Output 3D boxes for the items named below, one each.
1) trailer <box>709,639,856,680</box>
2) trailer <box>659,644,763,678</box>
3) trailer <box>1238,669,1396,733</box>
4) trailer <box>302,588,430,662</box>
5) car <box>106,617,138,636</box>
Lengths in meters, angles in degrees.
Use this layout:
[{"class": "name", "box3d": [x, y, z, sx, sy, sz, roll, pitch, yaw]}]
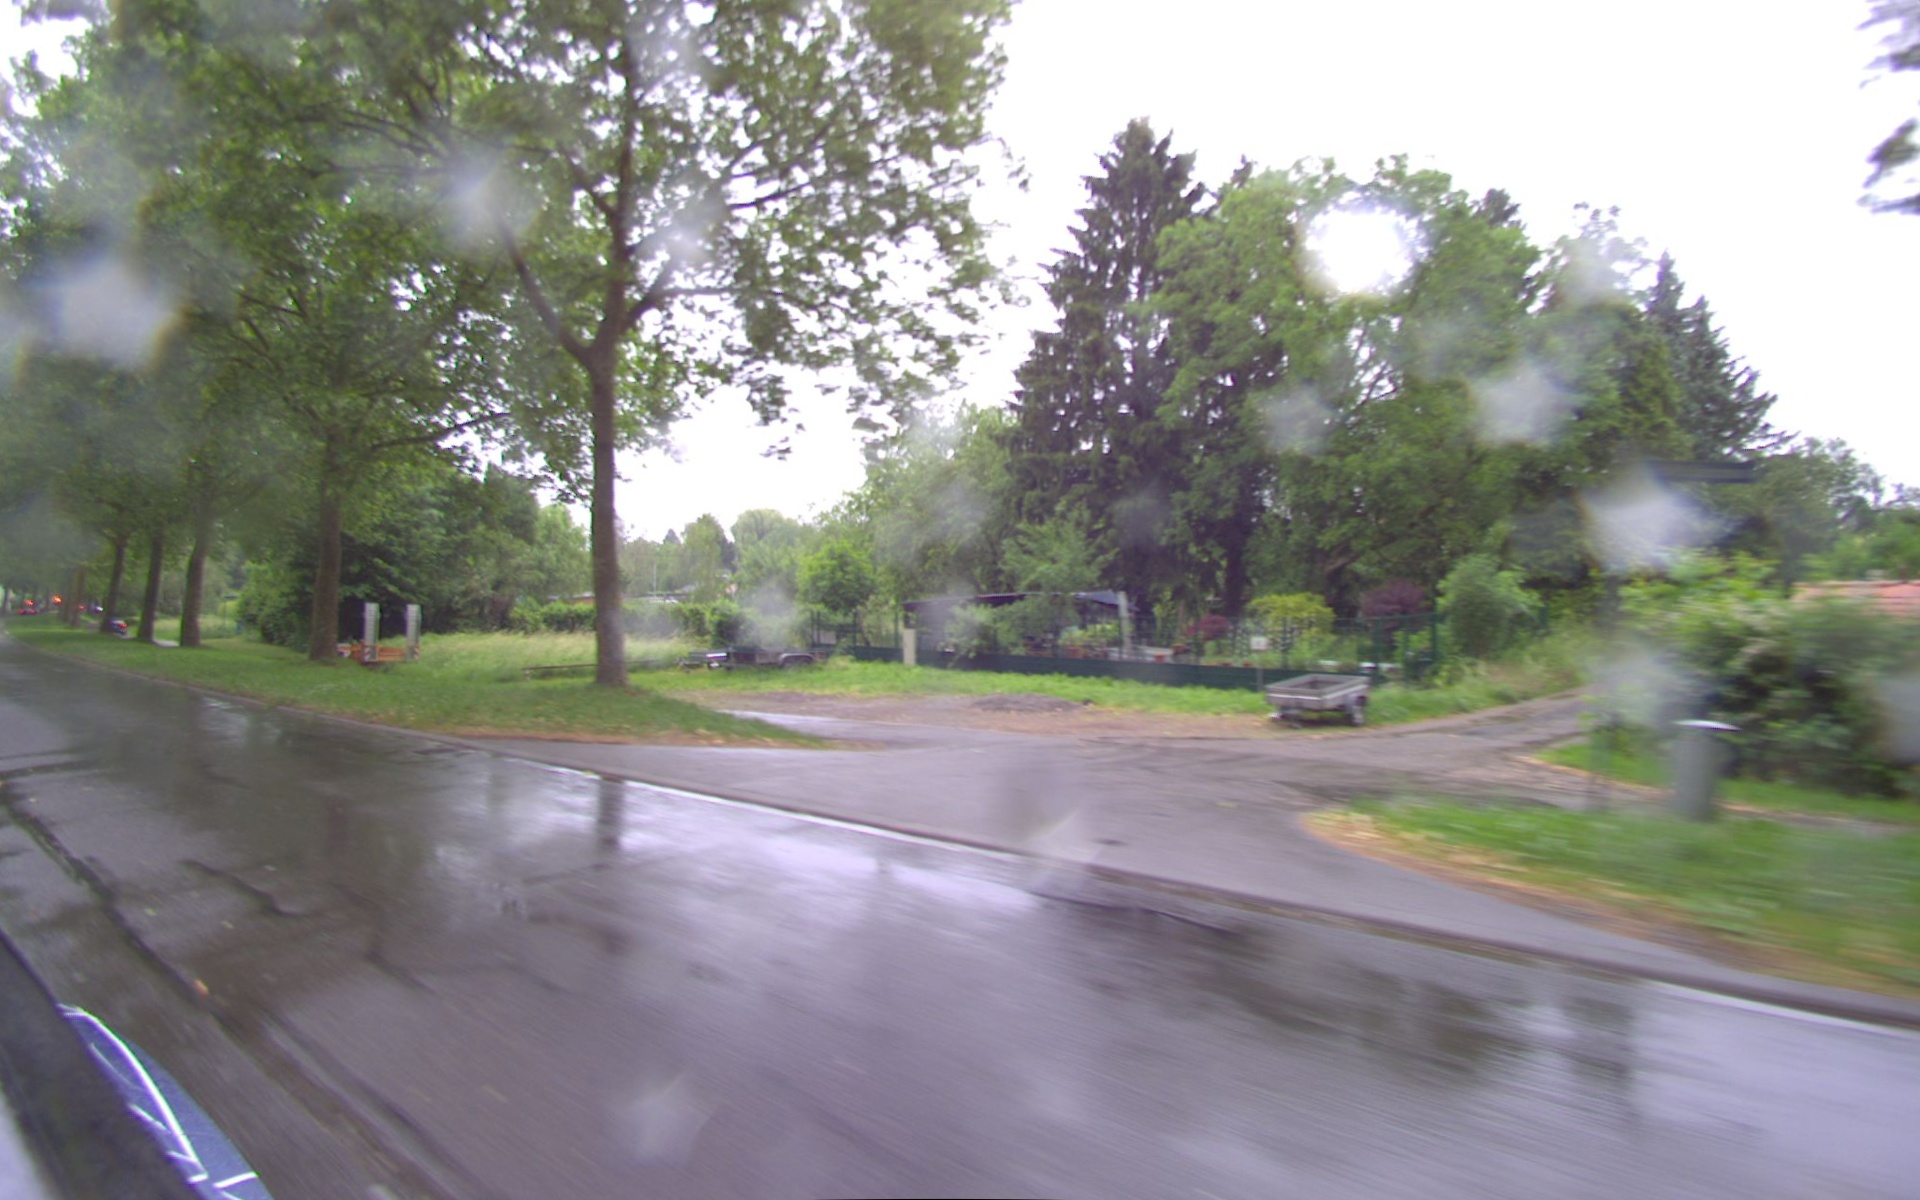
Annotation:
[{"class": "trailer", "box3d": [-5.787, 1.924, 33.367, 2.381, 1.040, 4.271, 0, 0, 41]}, {"class": "trailer", "box3d": [-8.619, 2.085, 35.105, 1.768, 0.952, 3.042, 0, 0, 42]}, {"class": "trailer", "box3d": [6.706, 1.842, 18.926, 1.679, 0.844, 2.994, 0, 0, 45]}, {"class": "trailer", "box3d": [-23.756, 0.924, 40.321, 6.655, 2.684, 2.766, 0, 0, 44]}, {"class": "car", "box3d": [-78.476, 2.436, 94.782, 1.868, 1.695, 4.011, 0, 0, -33]}]
